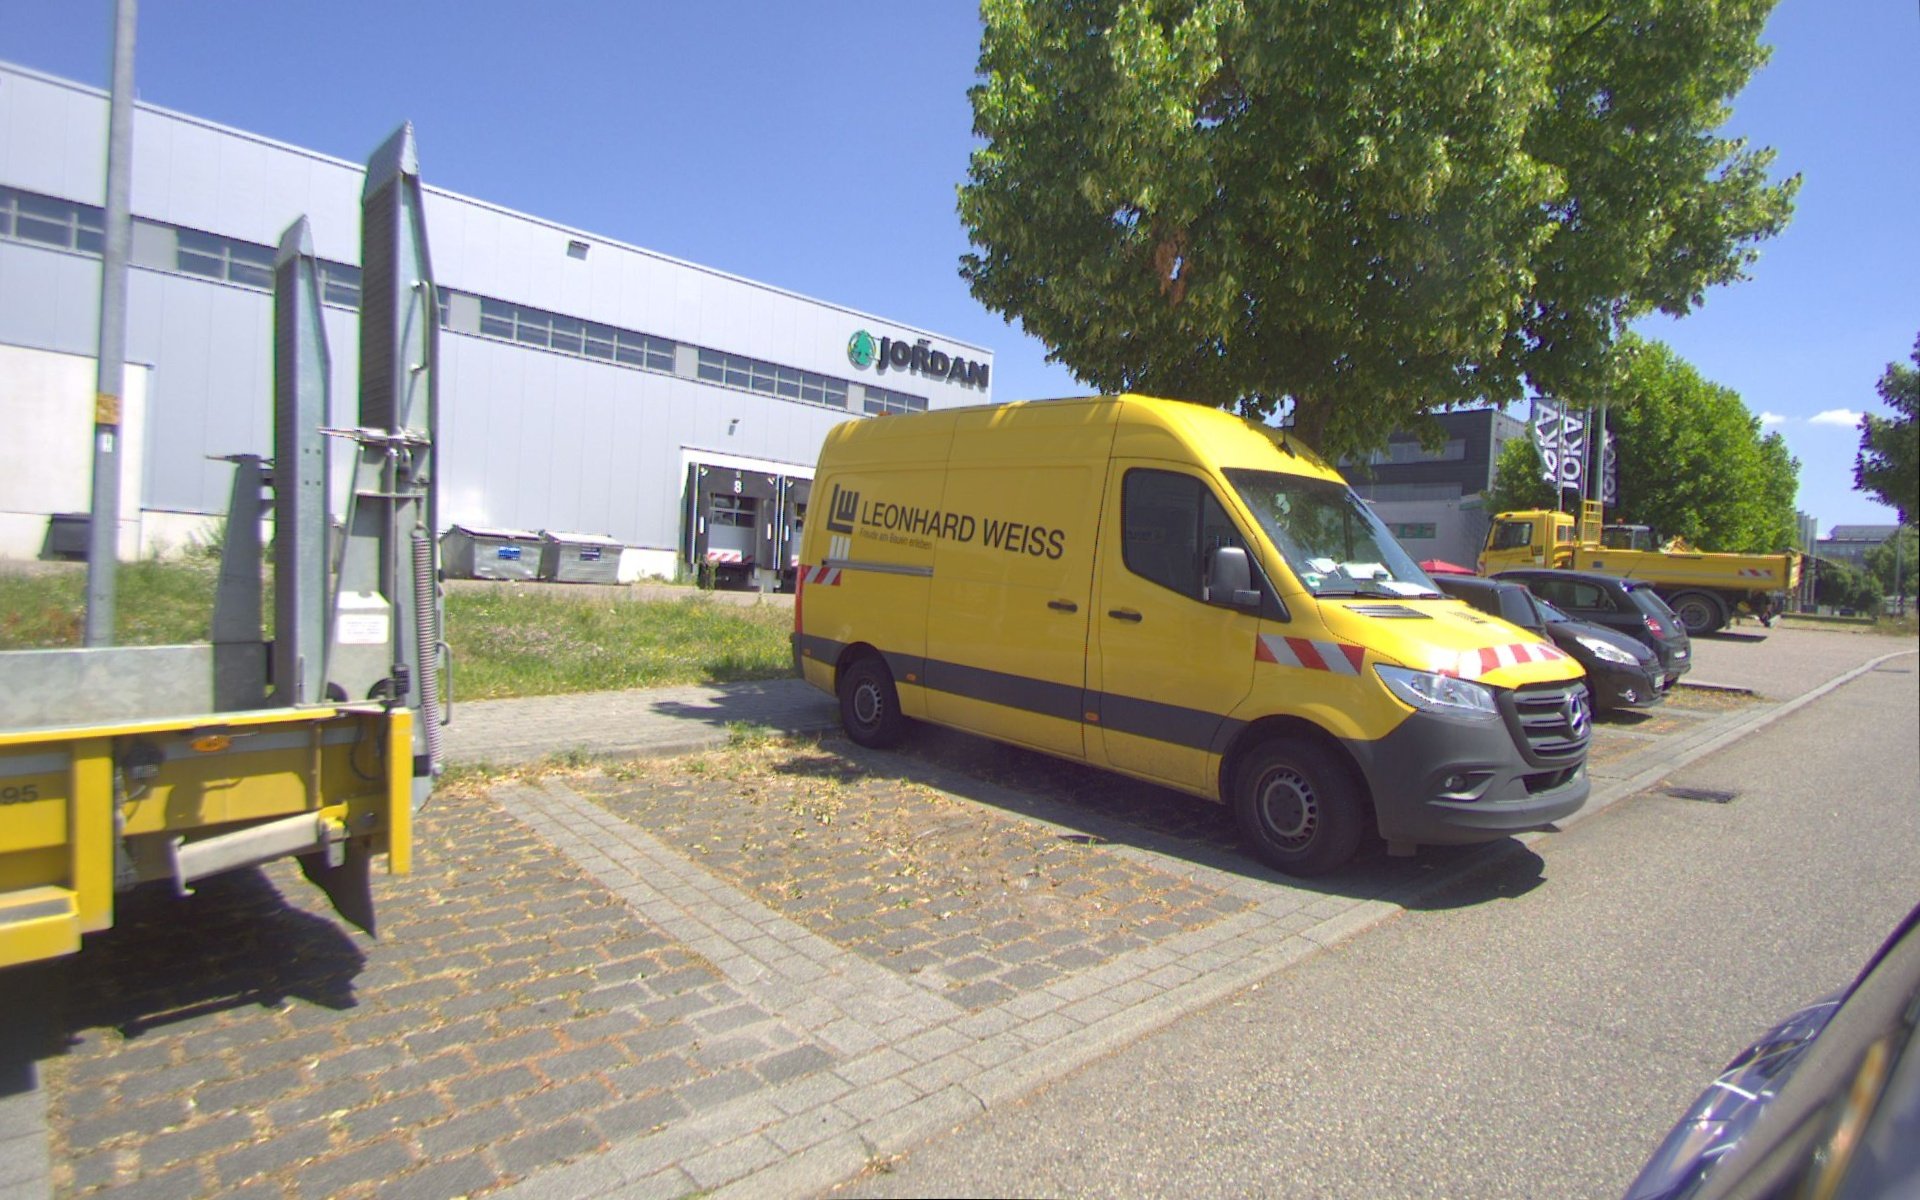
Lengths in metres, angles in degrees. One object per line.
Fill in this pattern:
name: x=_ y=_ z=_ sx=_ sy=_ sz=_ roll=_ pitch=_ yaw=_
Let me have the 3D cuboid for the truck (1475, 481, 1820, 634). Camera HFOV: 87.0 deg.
truck: x=16.254 y=-1.093 z=24.265 sx=6.406 sy=3.174 sz=2.555 roll=4 pitch=4 yaw=44

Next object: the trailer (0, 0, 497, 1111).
trailer: x=-4.357 y=-0.259 z=2.243 sx=2.658 sy=2.891 sz=5.433 roll=6 pitch=4 yaw=43

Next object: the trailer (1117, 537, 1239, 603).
trailer: x=12.546 y=-1.737 z=58.681 sx=2.141 sy=3.503 sz=6.695 roll=5 pitch=-2 yaw=-44

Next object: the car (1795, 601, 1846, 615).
car: x=88.562 y=0.835 z=104.124 sx=1.582 sy=1.290 sz=3.836 roll=1 pitch=2 yaw=-43

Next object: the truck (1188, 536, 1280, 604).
truck: x=15.122 y=-1.649 z=55.975 sx=2.121 sy=3.496 sz=4.336 roll=5 pitch=-2 yaw=-43

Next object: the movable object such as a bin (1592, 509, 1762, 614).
movable object such as a bin: x=19.906 y=-1.026 z=27.948 sx=6.457 sy=2.613 sz=1.999 roll=-1 pitch=2 yaw=-38

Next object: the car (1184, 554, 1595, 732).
car: x=4.350 y=0.307 z=10.607 sx=1.601 sy=1.496 sz=3.606 roll=0 pitch=3 yaw=-44

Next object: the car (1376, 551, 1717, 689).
car: x=7.893 y=0.167 z=13.865 sx=1.599 sy=1.480 sz=3.668 roll=0 pitch=4 yaw=-42

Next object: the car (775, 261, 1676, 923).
car: x=1.137 y=-0.292 z=7.048 sx=1.965 sy=2.764 sz=5.794 roll=2 pitch=5 yaw=-41

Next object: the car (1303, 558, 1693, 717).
car: x=6.237 y=0.311 z=12.030 sx=1.565 sy=1.525 sz=3.774 roll=0 pitch=3 yaw=-44
